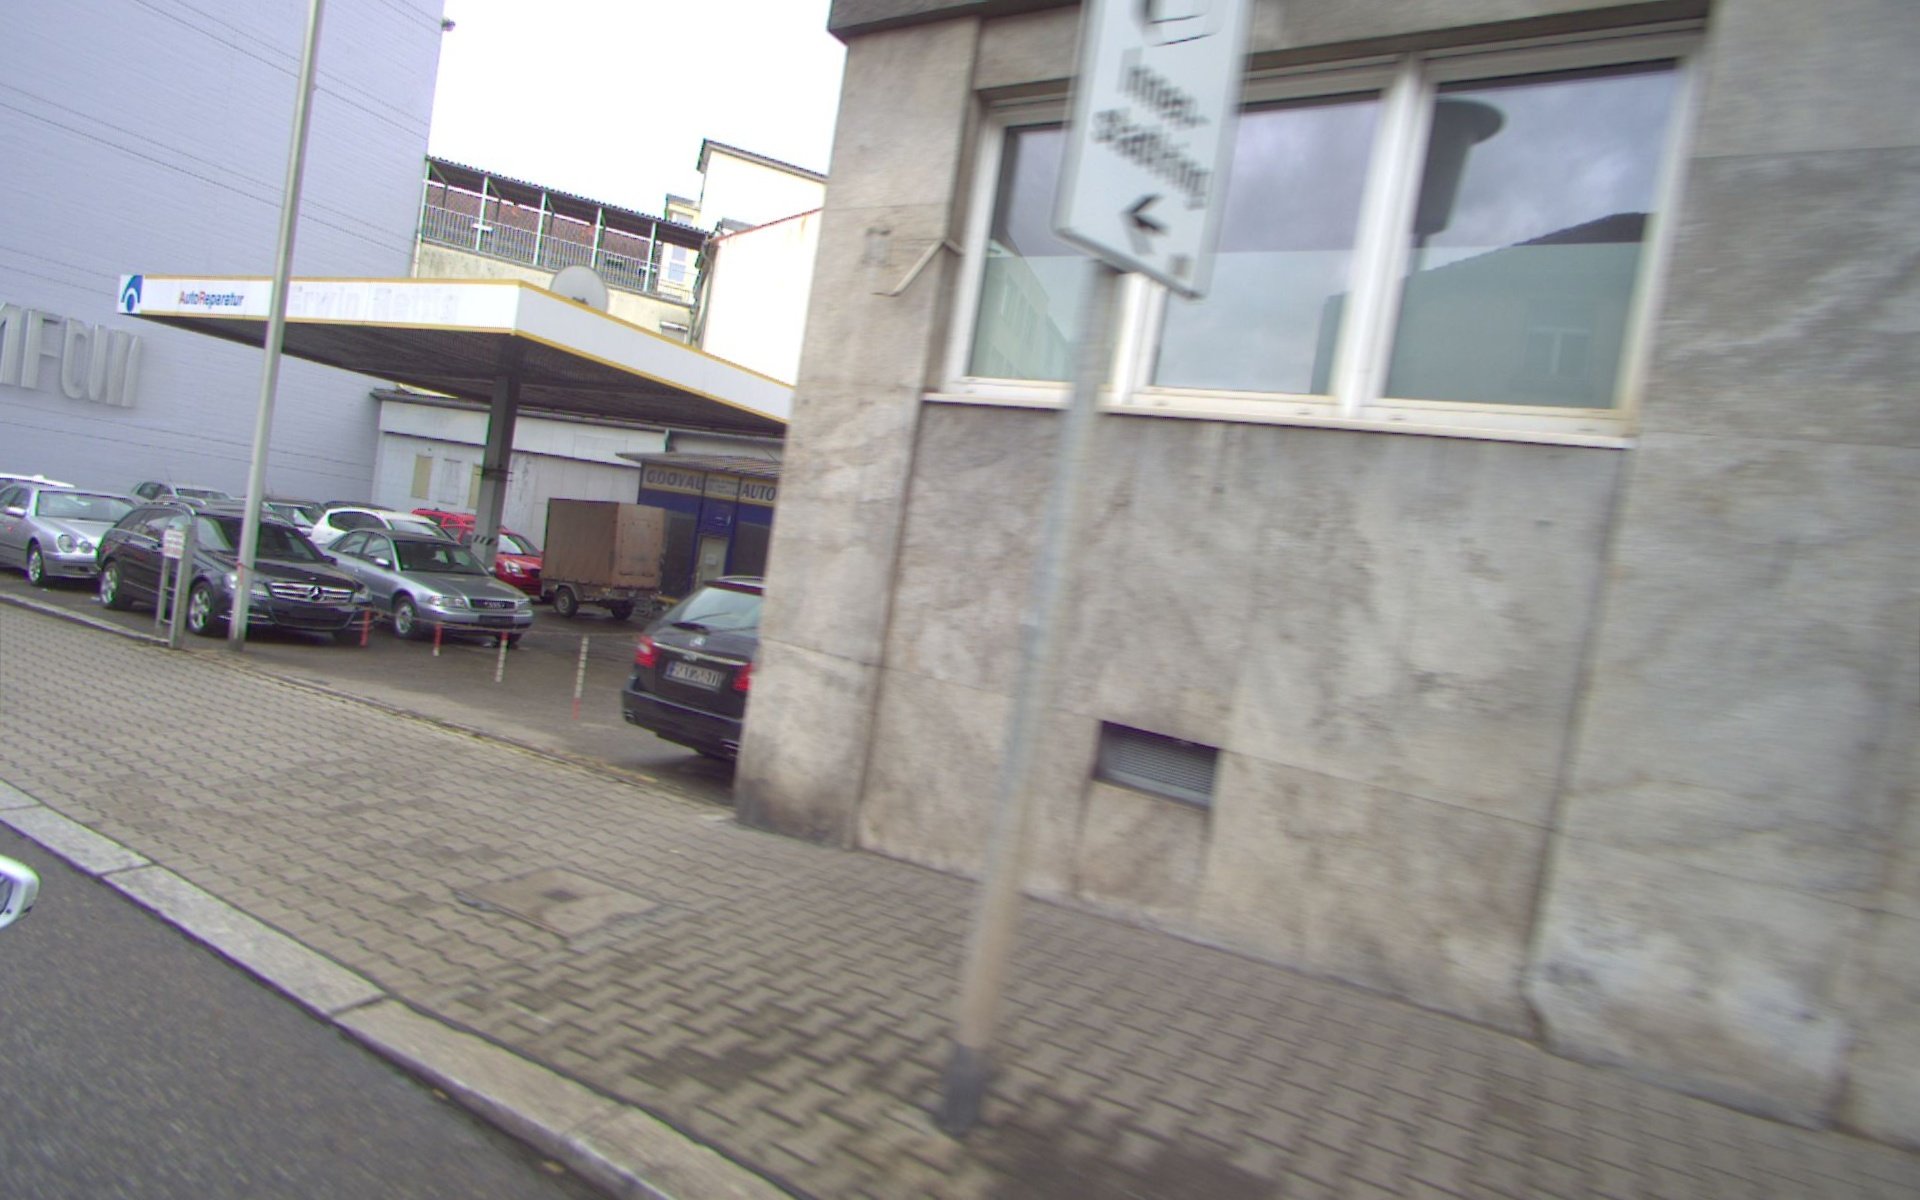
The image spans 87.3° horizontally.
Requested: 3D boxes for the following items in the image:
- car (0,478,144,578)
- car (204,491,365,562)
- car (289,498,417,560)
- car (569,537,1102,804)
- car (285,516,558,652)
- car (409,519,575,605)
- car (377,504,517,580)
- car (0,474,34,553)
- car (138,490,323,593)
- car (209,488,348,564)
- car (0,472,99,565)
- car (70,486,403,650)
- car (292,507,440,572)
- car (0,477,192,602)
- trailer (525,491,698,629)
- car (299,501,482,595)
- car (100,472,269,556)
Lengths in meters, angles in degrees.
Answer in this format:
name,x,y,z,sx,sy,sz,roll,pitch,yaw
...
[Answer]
name,x,y,z,sx,sy,sz,roll,pitch,yaw
car,-17.243,-1.396,17.857,1.700,1.512,4.005,6,-2,12
car,-15.338,-1.669,22.828,3.332,1.216,1.454,6,-2,25
car,-17.329,-2.035,28.731,3.294,1.370,1.456,6,-2,25
car,-0.710,0.676,8.566,1.857,1.529,4.498,7,-3,34
car,-8.259,-0.285,15.284,4.415,1.495,1.797,7,0,36
car,-10.553,-0.855,22.657,3.459,1.530,1.454,6,-1,27
car,-13.636,-1.540,26.741,3.332,1.616,1.454,6,-1,25
car,-21.622,-2.042,20.233,1.765,1.615,4.005,6,-2,12
car,-13.367,-1.089,18.410,3.337,1.530,1.529,5,-2,33
car,-18.164,-1.970,26.789,3.332,1.616,1.454,6,-1,25
car,-19.319,-1.752,19.223,1.765,1.615,4.005,6,-2,12
car,-9.277,-0.437,12.808,4.411,1.494,1.800,7,-1,32
car,-14.802,-1.508,25.062,3.332,1.216,1.454,6,-2,25
car,-13.834,-1.005,15.601,4.001,1.494,1.569,7,-1,30
trailer,-7.144,-0.827,20.570,3.151,2.466,1.429,7,2,29
car,-11.832,-1.081,20.877,3.459,1.530,1.556,6,-2,27
car,-19.121,-2.120,24.793,3.798,1.616,1.649,6,-1,25
